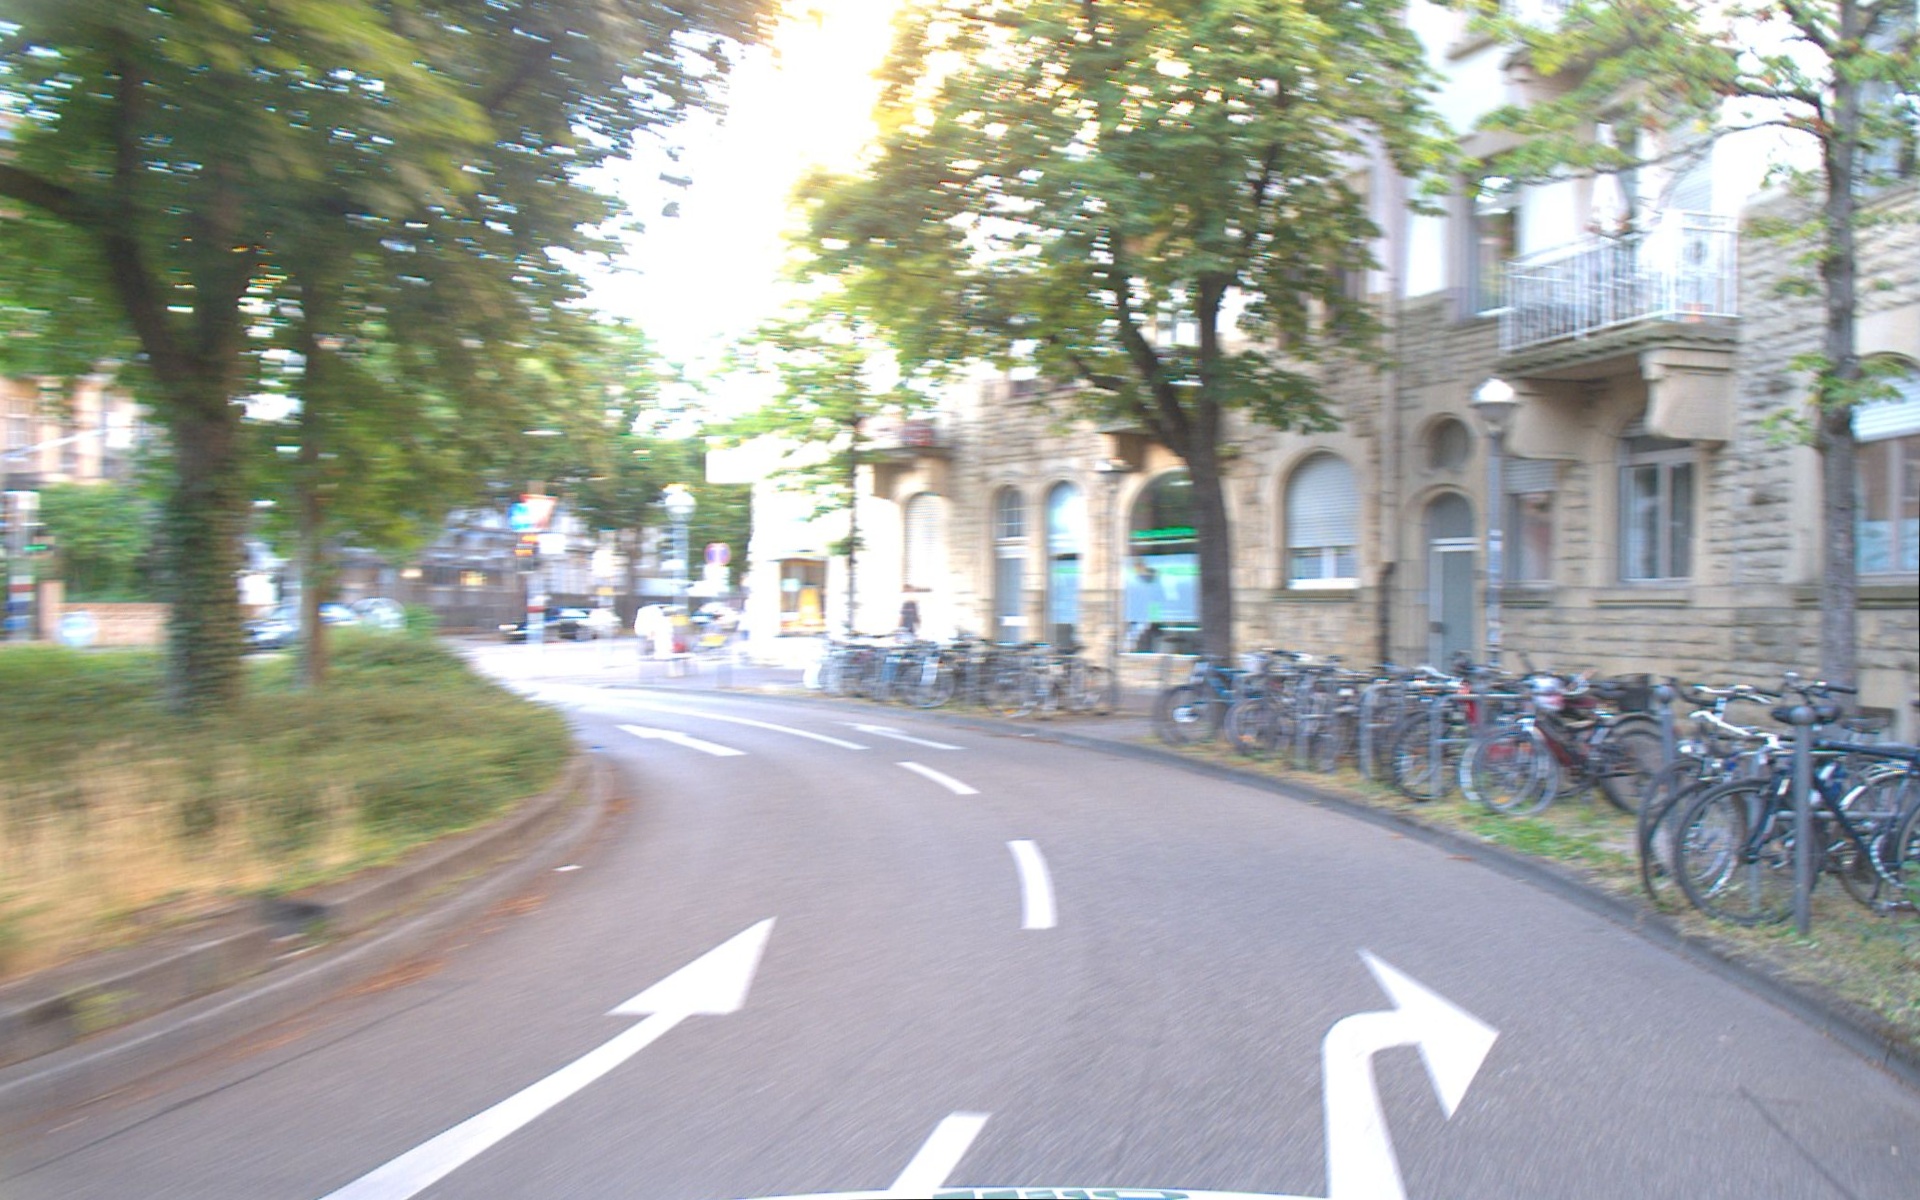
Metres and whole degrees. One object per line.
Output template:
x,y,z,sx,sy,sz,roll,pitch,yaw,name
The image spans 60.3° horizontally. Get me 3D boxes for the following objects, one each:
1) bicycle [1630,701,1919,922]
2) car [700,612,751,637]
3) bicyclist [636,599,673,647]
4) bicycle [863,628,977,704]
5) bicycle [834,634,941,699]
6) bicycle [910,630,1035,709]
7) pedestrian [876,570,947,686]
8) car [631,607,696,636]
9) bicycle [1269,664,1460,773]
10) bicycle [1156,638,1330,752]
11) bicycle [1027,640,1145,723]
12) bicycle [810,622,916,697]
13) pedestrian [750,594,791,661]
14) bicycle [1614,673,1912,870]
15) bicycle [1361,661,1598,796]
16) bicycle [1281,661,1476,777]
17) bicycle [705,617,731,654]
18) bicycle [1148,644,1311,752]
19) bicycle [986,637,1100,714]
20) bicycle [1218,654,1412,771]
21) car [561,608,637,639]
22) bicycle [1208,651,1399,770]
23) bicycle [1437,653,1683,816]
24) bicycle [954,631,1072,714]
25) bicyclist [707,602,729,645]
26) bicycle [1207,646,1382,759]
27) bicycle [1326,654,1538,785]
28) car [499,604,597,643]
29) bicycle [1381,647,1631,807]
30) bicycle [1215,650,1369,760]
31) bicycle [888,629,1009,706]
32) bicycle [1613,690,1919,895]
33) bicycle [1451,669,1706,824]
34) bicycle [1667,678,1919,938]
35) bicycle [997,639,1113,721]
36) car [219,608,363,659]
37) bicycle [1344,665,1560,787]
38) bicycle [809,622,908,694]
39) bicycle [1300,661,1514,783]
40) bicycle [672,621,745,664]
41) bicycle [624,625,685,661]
4.258,1.044,8.309,1.570,1.038,0.555,0,-1,0,bicycle
-14.089,1.456,99.538,1.902,1.508,4.324,0,0,9,car
-9.363,0.700,50.685,0.688,1.436,0.859,0,-1,44,bicyclist
-0.646,1.062,26.960,1.873,1.183,0.631,1,-1,-39,bicycle
-1.224,1.113,28.169,1.789,1.056,0.690,1,-1,-39,bicycle
0.201,1.059,25.734,1.864,1.183,0.698,0,-1,-29,bicycle
-0.911,0.507,31.073,0.998,2.122,1.052,0,0,-26,pedestrian
-16.193,1.157,90.413,1.903,1.508,4.171,0,0,15,car
3.939,1.140,16.107,1.817,1.017,0.417,0,-1,-12,bicycle
3.179,1.069,18.593,1.846,1.238,0.490,0,-6,-12,bicycle
1.751,1.112,22.923,1.652,1.097,0.481,1,-1,-30,bicycle
-1.685,1.015,28.893,1.775,1.258,0.690,1,-1,-39,bicycle
-5.196,0.747,45.410,0.857,1.826,0.917,1,0,-26,pedestrian
4.650,0.983,9.608,1.571,1.095,0.418,0,-1,-5,bicycle
4.377,1.064,13.962,1.880,1.083,0.551,0,-1,-11,bicycle
4.002,1.126,15.824,1.817,1.070,0.417,0,-1,-12,bicycle
-8.440,1.216,57.645,0.683,1.258,1.862,0,0,-2,bicycle
3.111,1.122,19.024,1.855,1.159,0.488,2,3,-26,bicycle
1.229,1.101,24.372,1.647,1.097,0.483,0,-1,-23,bicycle
3.638,1.150,16.986,1.817,1.109,0.418,0,-19,-12,bicycle
-17.579,1.126,80.765,1.961,1.451,4.636,0,0,11,car
3.573,1.148,17.253,1.817,1.148,0.418,0,-19,-12,bicycle
4.530,0.999,12.505,1.757,1.188,0.447,0,-1,-9,bicycle
0.787,1.066,24.505,1.646,1.147,0.483,0,6,-22,bicycle
-8.433,0.803,57.647,0.683,1.487,0.783,0,0,-3,bicyclist
3.572,1.082,17.666,1.817,1.165,0.417,0,-1,-12,bicycle
4.227,1.057,14.824,1.814,1.136,0.418,0,-1,-8,bicycle
-16.844,0.941,67.806,1.903,1.536,4.635,0,0,15,car
4.356,0.996,13.218,1.880,1.221,0.551,0,-1,-11,bicycle
3.672,1.128,18.221,1.834,1.123,0.566,1,-1,-36,bicycle
-0.174,1.059,26.389,1.864,1.183,0.634,0,-1,-29,bicycle
4.493,1.056,9.215,1.571,1.082,0.418,0,-1,-5,bicycle
4.513,1.055,12.092,1.757,1.082,0.447,0,-1,-9,bicycle
4.262,0.968,7.868,1.570,1.168,0.555,0,-1,0,bicycle
1.348,1.108,23.279,1.652,1.097,0.481,1,-1,-30,bicycle
-20.967,1.030,52.038,1.903,1.536,4.423,0,0,15,car
4.308,1.090,14.509,1.814,1.032,0.418,0,-1,-8,bicycle
-1.830,1.040,30.060,1.777,1.258,0.641,1,-1,-41,bicycle
4.144,1.117,15.360,1.880,1.080,0.534,0,-1,-11,bicycle
-6.841,1.155,45.079,1.848,1.150,0.726,1,-1,-25,bicycle
-9.358,1.316,50.687,0.688,1.073,1.780,0,-1,44,bicycle
